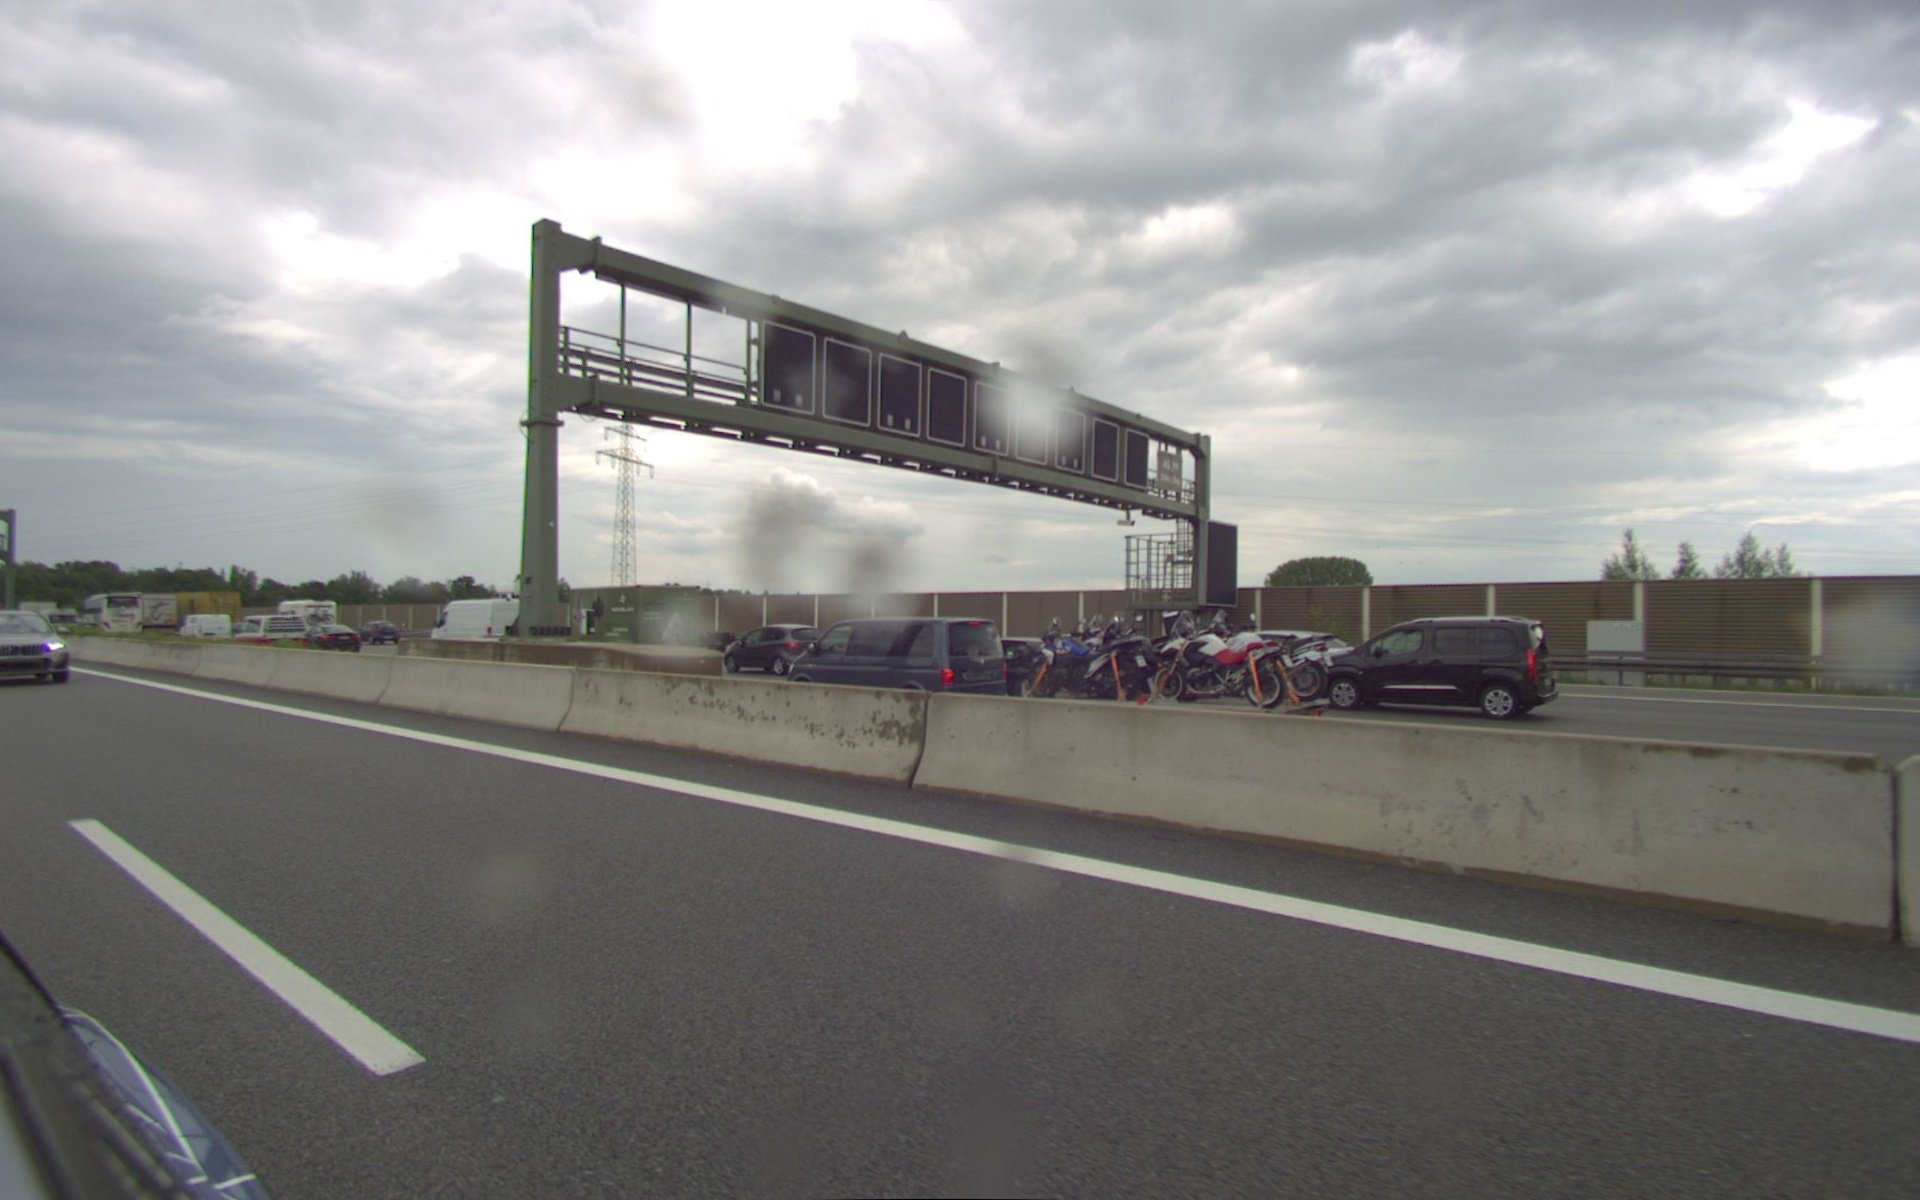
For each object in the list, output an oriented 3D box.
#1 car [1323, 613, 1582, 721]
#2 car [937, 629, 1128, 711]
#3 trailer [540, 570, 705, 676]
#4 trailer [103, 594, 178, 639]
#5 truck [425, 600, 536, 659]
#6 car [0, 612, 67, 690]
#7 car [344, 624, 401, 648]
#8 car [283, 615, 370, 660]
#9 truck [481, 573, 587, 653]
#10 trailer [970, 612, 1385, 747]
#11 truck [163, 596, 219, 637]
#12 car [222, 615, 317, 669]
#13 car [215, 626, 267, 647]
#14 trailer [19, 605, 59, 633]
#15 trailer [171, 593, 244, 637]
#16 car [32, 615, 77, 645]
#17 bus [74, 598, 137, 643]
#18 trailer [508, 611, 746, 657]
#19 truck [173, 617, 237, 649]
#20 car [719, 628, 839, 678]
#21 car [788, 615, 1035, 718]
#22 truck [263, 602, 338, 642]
[{"bbox_3d":[9.348,1.202,19.384,4.163,1.862,1.729,-1,-2,40],"label":"car"},{"bbox_3d":[1.505,1.423,21.745,3.872,1.590,1.665,-1,-2,40],"label":"car"},{"bbox_3d":[-11.126,0.750,33.101,6.048,3.162,2.423,-1,-2,42],"label":"trailer"},{"bbox_3d":[-76.826,1.590,94.696,14.288,3.991,2.856,-2,-1,41],"label":"trailer"},{"bbox_3d":[-22.775,1.356,47.911,6.553,2.623,2.221,-1,-2,40],"label":"truck"},{"bbox_3d":[-21.825,1.122,22.955,4.913,1.637,1.816,-2,-1,42],"label":"car"},{"bbox_3d":[-38.171,2.321,65.713,4.771,1.499,1.788,-1,-2,42],"label":"car"},{"bbox_3d":[-31.842,1.821,50.782,5.539,2.130,2.220,-1,-2,42],"label":"car"},{"bbox_3d":[-22.182,0.705,52.580,6.048,3.917,2.723,-1,-2,42],"label":"truck"},{"bbox_3d":[3.111,1.069,15.654,6.044,1.722,2.121,-1,-2,42],"label":"trailer"},{"bbox_3d":[-76.770,1.678,100.999,7.707,3.963,2.997,-1,-2,42],"label":"truck"},{"bbox_3d":[-30.739,1.808,44.969,5.511,2.254,2.206,-1,-2,42],"label":"car"},{"bbox_3d":[-51.786,2.613,72.855,4.943,1.396,1.943,-1,-2,42],"label":"car"},{"bbox_3d":[-143.778,3.031,157.889,12.687,4.147,2.871,-2,-1,40],"label":"trailer"},{"bbox_3d":[-72.260,1.509,96.998,12.969,3.963,2.997,-1,-2,42],"label":"trailer"},{"bbox_3d":[-75.112,2.481,83.941,5.708,2.369,2.114,-2,-1,42],"label":"car"},{"bbox_3d":[-73.525,1.750,86.961,10.630,3.707,2.626,-1,-2,42],"label":"bus"},{"bbox_3d":[-16.010,1.548,47.035,16.343,1.842,2.723,-1,-2,42],"label":"trailer"},{"bbox_3d":[-49.986,2.155,66.944,5.541,2.015,2.220,-1,-2,40],"label":"truck"},{"bbox_3d":[-5.885,1.653,32.633,3.898,1.506,1.797,-1,-2,42],"label":"car"},{"bbox_3d":[-1.032,1.157,19.178,4.805,1.722,1.797,-1,-2,42],"label":"car"},{"bbox_3d":[-49.173,1.617,75.375,7.831,2.835,2.663,-1,-2,42],"label":"truck"}]
